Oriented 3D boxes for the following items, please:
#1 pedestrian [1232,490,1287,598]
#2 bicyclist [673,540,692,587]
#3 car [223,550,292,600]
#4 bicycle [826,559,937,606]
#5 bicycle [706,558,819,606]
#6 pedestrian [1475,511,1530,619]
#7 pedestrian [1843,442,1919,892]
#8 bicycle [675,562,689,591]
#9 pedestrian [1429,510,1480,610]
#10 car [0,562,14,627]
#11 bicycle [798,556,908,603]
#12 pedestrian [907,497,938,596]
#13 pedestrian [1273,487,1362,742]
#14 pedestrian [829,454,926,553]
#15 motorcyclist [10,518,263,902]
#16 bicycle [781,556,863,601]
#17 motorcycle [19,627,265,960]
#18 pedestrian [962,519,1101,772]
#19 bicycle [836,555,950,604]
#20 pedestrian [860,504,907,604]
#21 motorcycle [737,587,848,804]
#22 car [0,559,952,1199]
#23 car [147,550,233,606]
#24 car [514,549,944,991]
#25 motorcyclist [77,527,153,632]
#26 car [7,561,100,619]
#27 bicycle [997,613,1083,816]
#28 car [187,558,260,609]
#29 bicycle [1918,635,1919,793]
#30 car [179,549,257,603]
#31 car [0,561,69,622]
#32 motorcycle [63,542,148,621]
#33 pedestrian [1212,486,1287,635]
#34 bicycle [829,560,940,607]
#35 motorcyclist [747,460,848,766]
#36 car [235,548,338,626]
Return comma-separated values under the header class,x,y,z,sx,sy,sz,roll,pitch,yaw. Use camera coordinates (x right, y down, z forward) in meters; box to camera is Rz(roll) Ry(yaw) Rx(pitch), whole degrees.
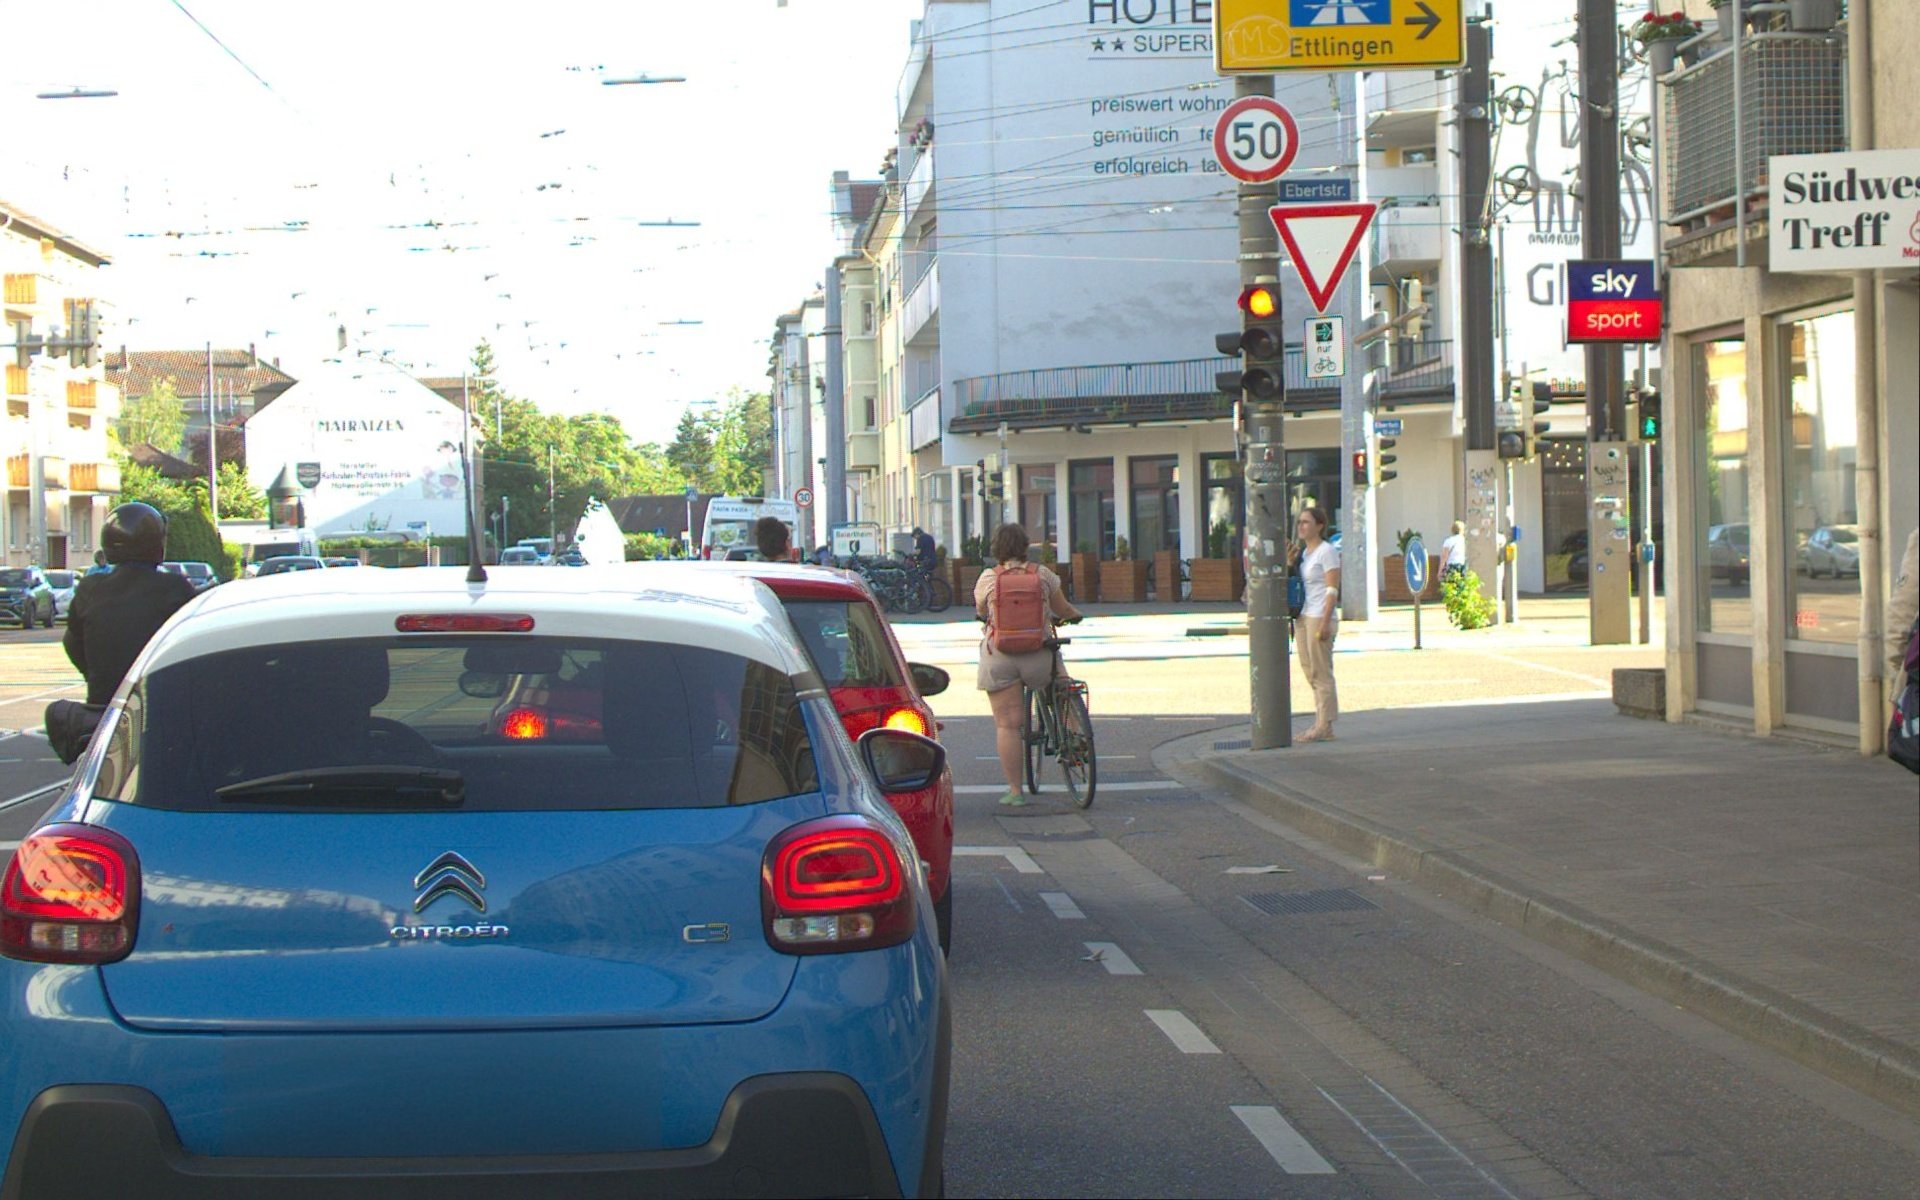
class,x,y,z,sx,sy,sz,roll,pitch,yaw
pedestrian,5.614,-1.047,64.448,0.758,2.007,0.710,1,0,31
bicyclist,-8.709,-1.144,107.852,0.561,1.472,0.748,1,0,-4
car,-24.764,-0.887,121.263,1.846,1.681,3.875,1,1,-4
bicycle,-1.534,-0.339,67.448,2.132,0.898,0.367,1,0,-9
bicycle,-3.813,-0.347,66.261,2.132,0.898,0.367,1,0,-9
pedestrian,8.406,-0.541,53.264,0.752,1.652,0.883,1,0,13
pedestrian,3.741,0.238,12.526,0.825,1.587,0.751,1,0,-1
bicycle,-8.749,-0.738,108.342,0.349,0.900,1.859,1,1,-2
pedestrian,7.993,-0.645,55.538,0.736,1.595,0.748,1,0,13
car,-23.201,-0.128,79.141,1.787,1.506,4.150,1,1,-2
bicycle,-2.126,-0.405,68.316,2.132,0.898,0.367,1,0,-9
pedestrian,-0.771,-1.084,70.291,0.577,2.007,0.626,1,0,-3
pedestrian,2.528,0.096,24.340,0.517,1.777,0.595,1,0,-2
pedestrian,-1.744,-2.032,73.525,1.993,2.007,4.000,1,1,-1
motorcyclist,-3.301,0.429,13.824,0.860,1.500,0.598,1,0,-1
bicycle,-2.792,-0.437,69.415,1.785,0.898,0.366,1,1,34
motorcycle,-3.296,0.741,14.003,0.537,1.215,1.981,1,1,-1
pedestrian,0.412,0.262,20.247,0.777,1.455,0.682,1,0,-1
bicycle,-1.285,-0.394,65.921,2.132,0.898,0.367,1,0,-9
pedestrian,-1.544,-0.929,69.183,0.630,2.007,0.724,1,0,-36
motorcycle,-0.928,0.504,19.432,0.526,1.136,2.290,1,1,-1
car,-0.869,0.648,7.164,1.654,1.439,3.523,1,1,-1
car,-23.847,-0.693,106.617,1.983,1.681,4.001,1,1,-3
car,-0.796,0.563,13.093,1.424,1.462,2.924,-1,0,-1
motorcyclist,-16.536,-0.414,67.319,1.185,2.007,1.276,-1,1,-3
car,-24.279,-0.275,92.193,1.732,1.493,4.001,1,1,-5
bicycle,0.467,0.655,20.485,0.427,1.119,1.998,1,1,-1
car,-24.971,-0.581,116.637,1.833,1.681,4.001,1,1,-4
bicycle,4.844,0.430,15.505,0.542,0.995,1.706,1,1,-1
car,-24.030,-0.778,111.397,1.882,1.681,4.001,1,1,-4
car,-23.619,-0.230,86.090,1.785,1.493,4.001,1,1,-4
motorcycle,-16.599,-0.374,66.853,0.923,1.481,3.726,1,1,-3
pedestrian,3.946,-0.542,46.917,0.926,2.007,0.759,1,0,-1
bicycle,-1.473,-0.323,67.046,2.132,0.898,0.367,1,0,-9
motorcyclist,-0.921,0.069,19.614,0.526,1.710,0.717,1,0,-1
car,-14.950,-0.303,76.471,1.774,1.660,3.857,1,1,-4
